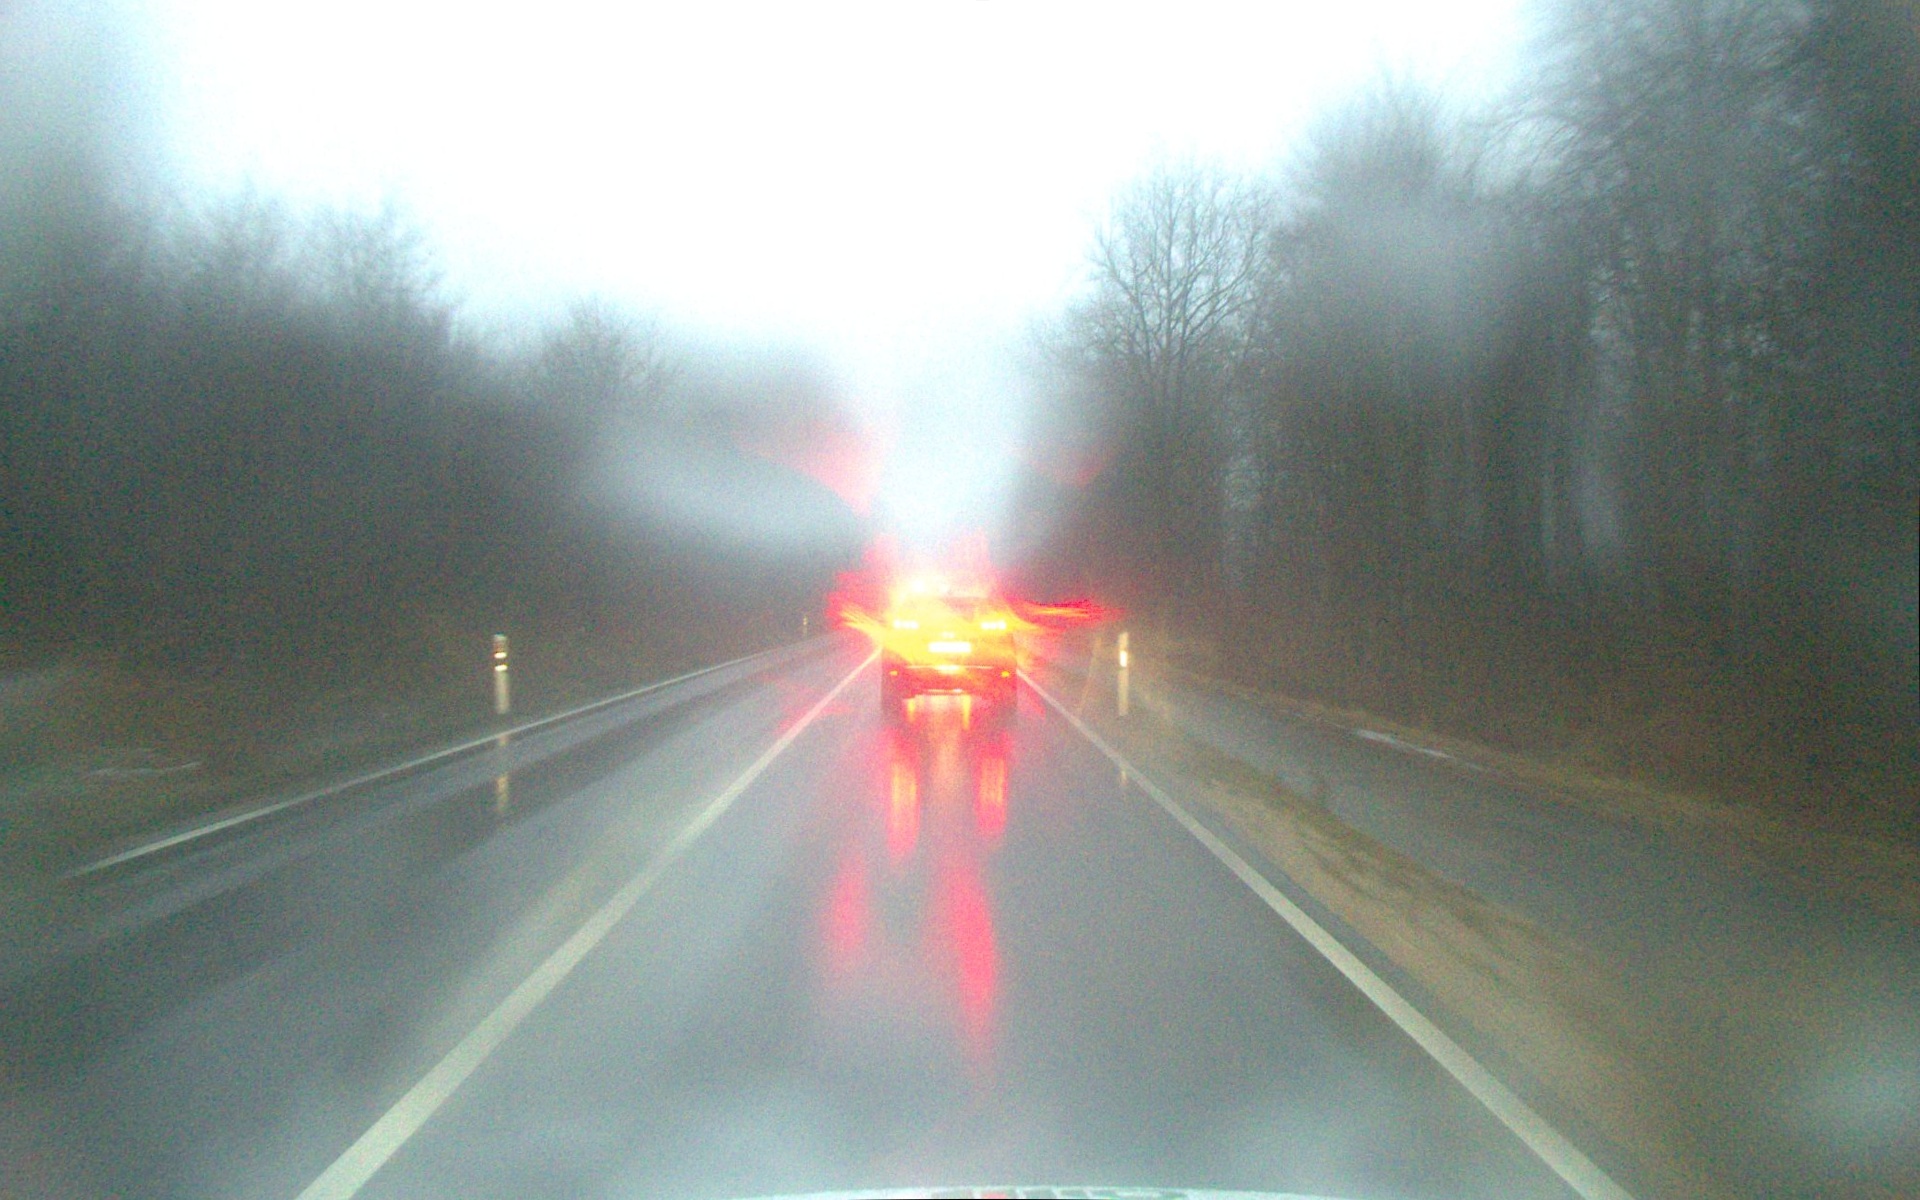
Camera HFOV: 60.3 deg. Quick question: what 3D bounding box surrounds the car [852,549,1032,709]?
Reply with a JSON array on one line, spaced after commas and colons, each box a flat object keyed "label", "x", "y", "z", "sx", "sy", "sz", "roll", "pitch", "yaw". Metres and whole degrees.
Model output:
[{"label": "car", "x": -0.275, "y": 0.332, "z": 22.542, "sx": 2.153, "sy": 1.910, "sz": 4.826, "roll": 1, "pitch": 0, "yaw": -1}]
